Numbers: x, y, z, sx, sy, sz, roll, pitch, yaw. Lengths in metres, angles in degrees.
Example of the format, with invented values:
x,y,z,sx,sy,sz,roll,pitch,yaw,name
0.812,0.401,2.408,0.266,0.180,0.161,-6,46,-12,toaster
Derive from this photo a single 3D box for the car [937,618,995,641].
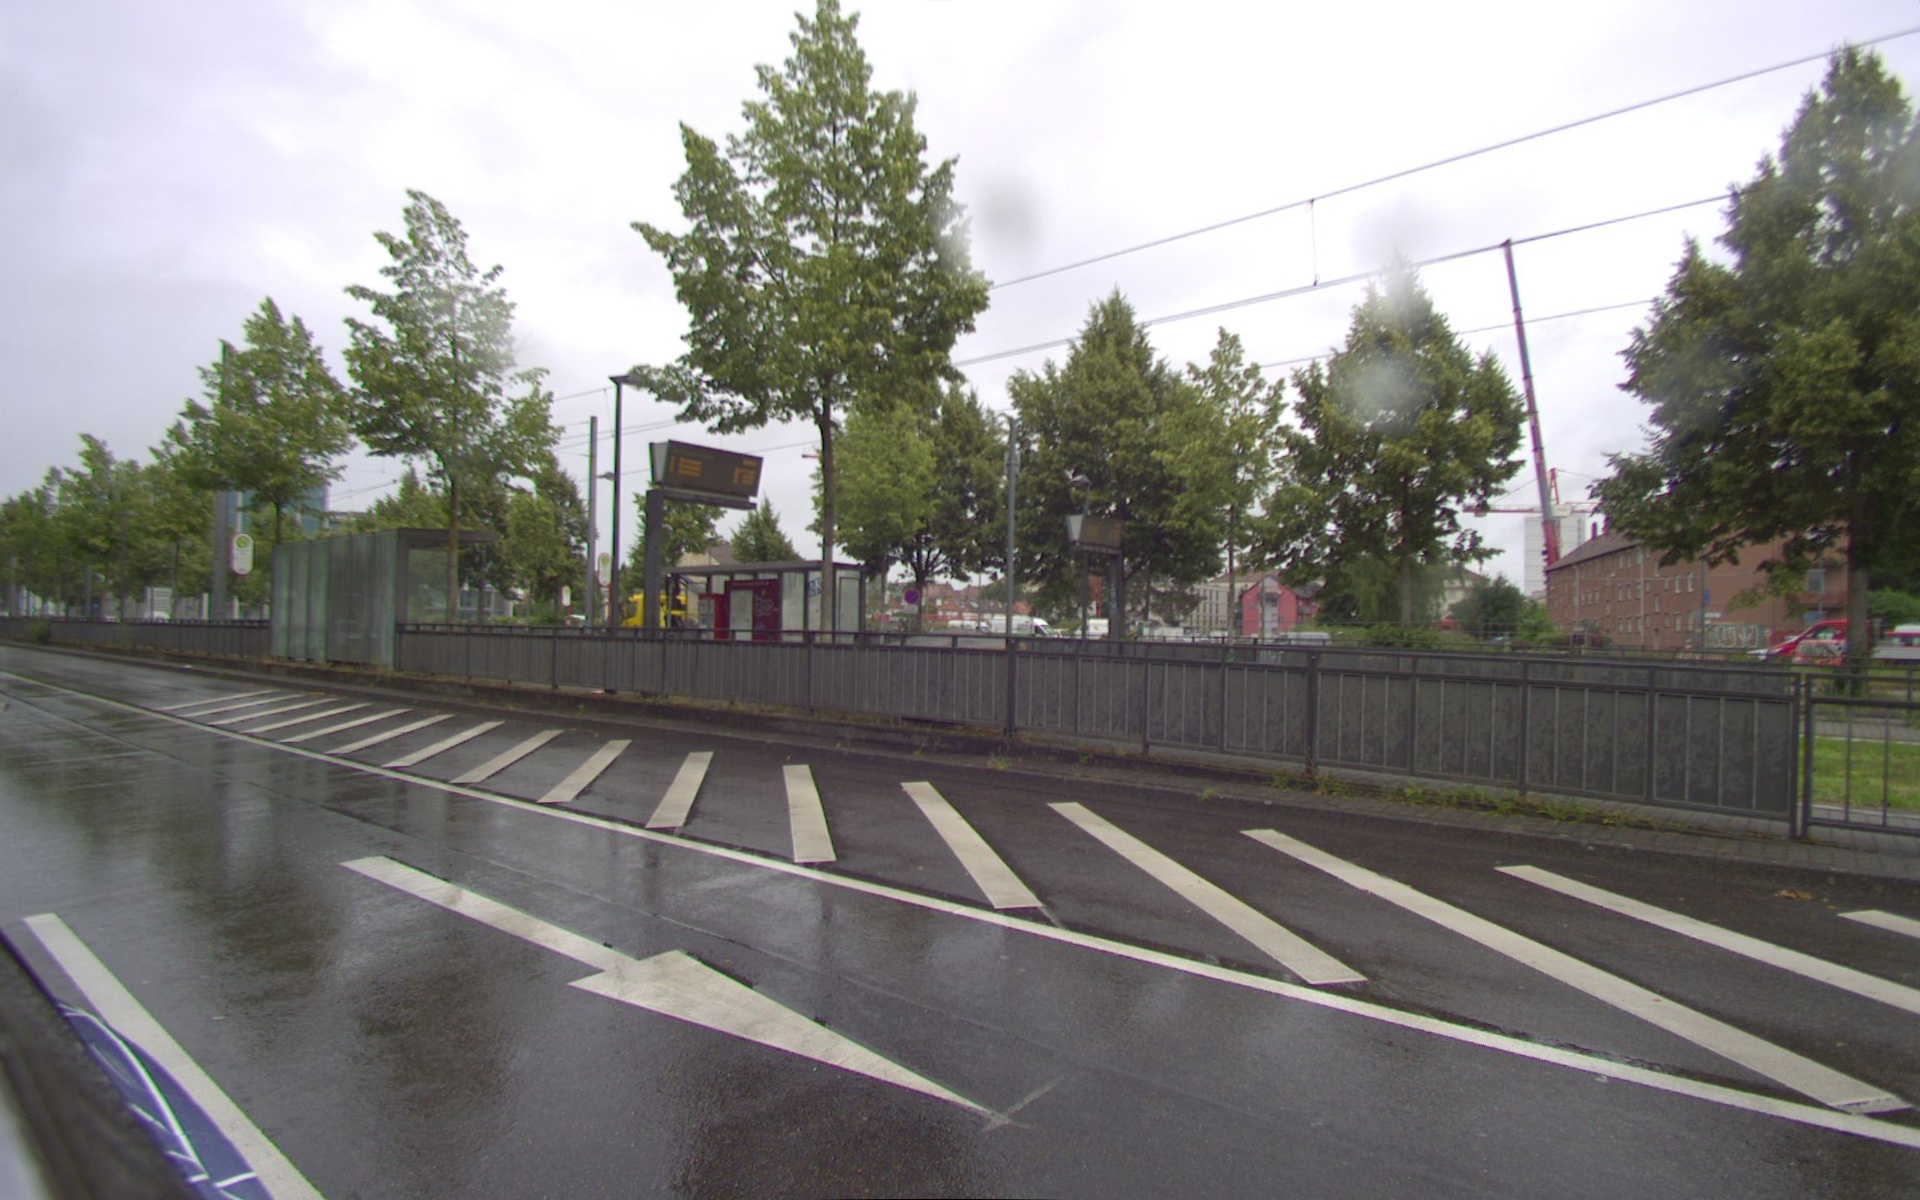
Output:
x,y,z,sx,sy,sz,roll,pitch,yaw,name
0.636,3.116,108.313,6.123,2.323,1.978,0,0,32,car

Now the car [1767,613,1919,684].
x,y,z,sx,sy,sz,roll,pitch,yaw,name
33.543,1.729,36.666,1.597,2.489,6.500,2,-2,-39,car

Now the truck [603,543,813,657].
x,y,z,sx,sy,sz,roll,pitch,yaw,name
-9.584,-0.014,37.728,9.174,3.806,2.660,0,0,40,truck

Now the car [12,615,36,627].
x,y,z,sx,sy,sz,roll,pitch,yaw,name
-141.602,3.184,153.088,3.995,1.759,1.974,0,0,38,car

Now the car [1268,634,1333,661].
x,y,z,sx,sy,sz,roll,pitch,yaw,name
26.199,3.649,77.927,4.415,1.891,1.855,0,0,34,car

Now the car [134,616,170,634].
x,y,z,sx,sy,sz,roll,pitch,yaw,name
-80.960,2.470,101.413,3.995,1.759,1.974,0,0,38,car

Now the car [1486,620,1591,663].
x,y,z,sx,sy,sz,roll,pitch,yaw,name
35.786,2.495,62.653,5.482,2.471,1.976,0,0,36,car

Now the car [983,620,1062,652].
x,y,z,sx,sy,sz,roll,pitch,yaw,name
5.240,3.028,85.934,6.735,2.480,1.975,0,0,37,car

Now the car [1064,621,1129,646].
x,y,z,sx,sy,sz,roll,pitch,yaw,name
11.920,2.881,88.769,5.411,2.067,1.975,0,0,37,car

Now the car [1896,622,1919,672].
x,y,z,sx,sy,sz,roll,pitch,yaw,name
45.918,2.115,44.999,1.597,2.296,6.114,2,-3,-37,car
